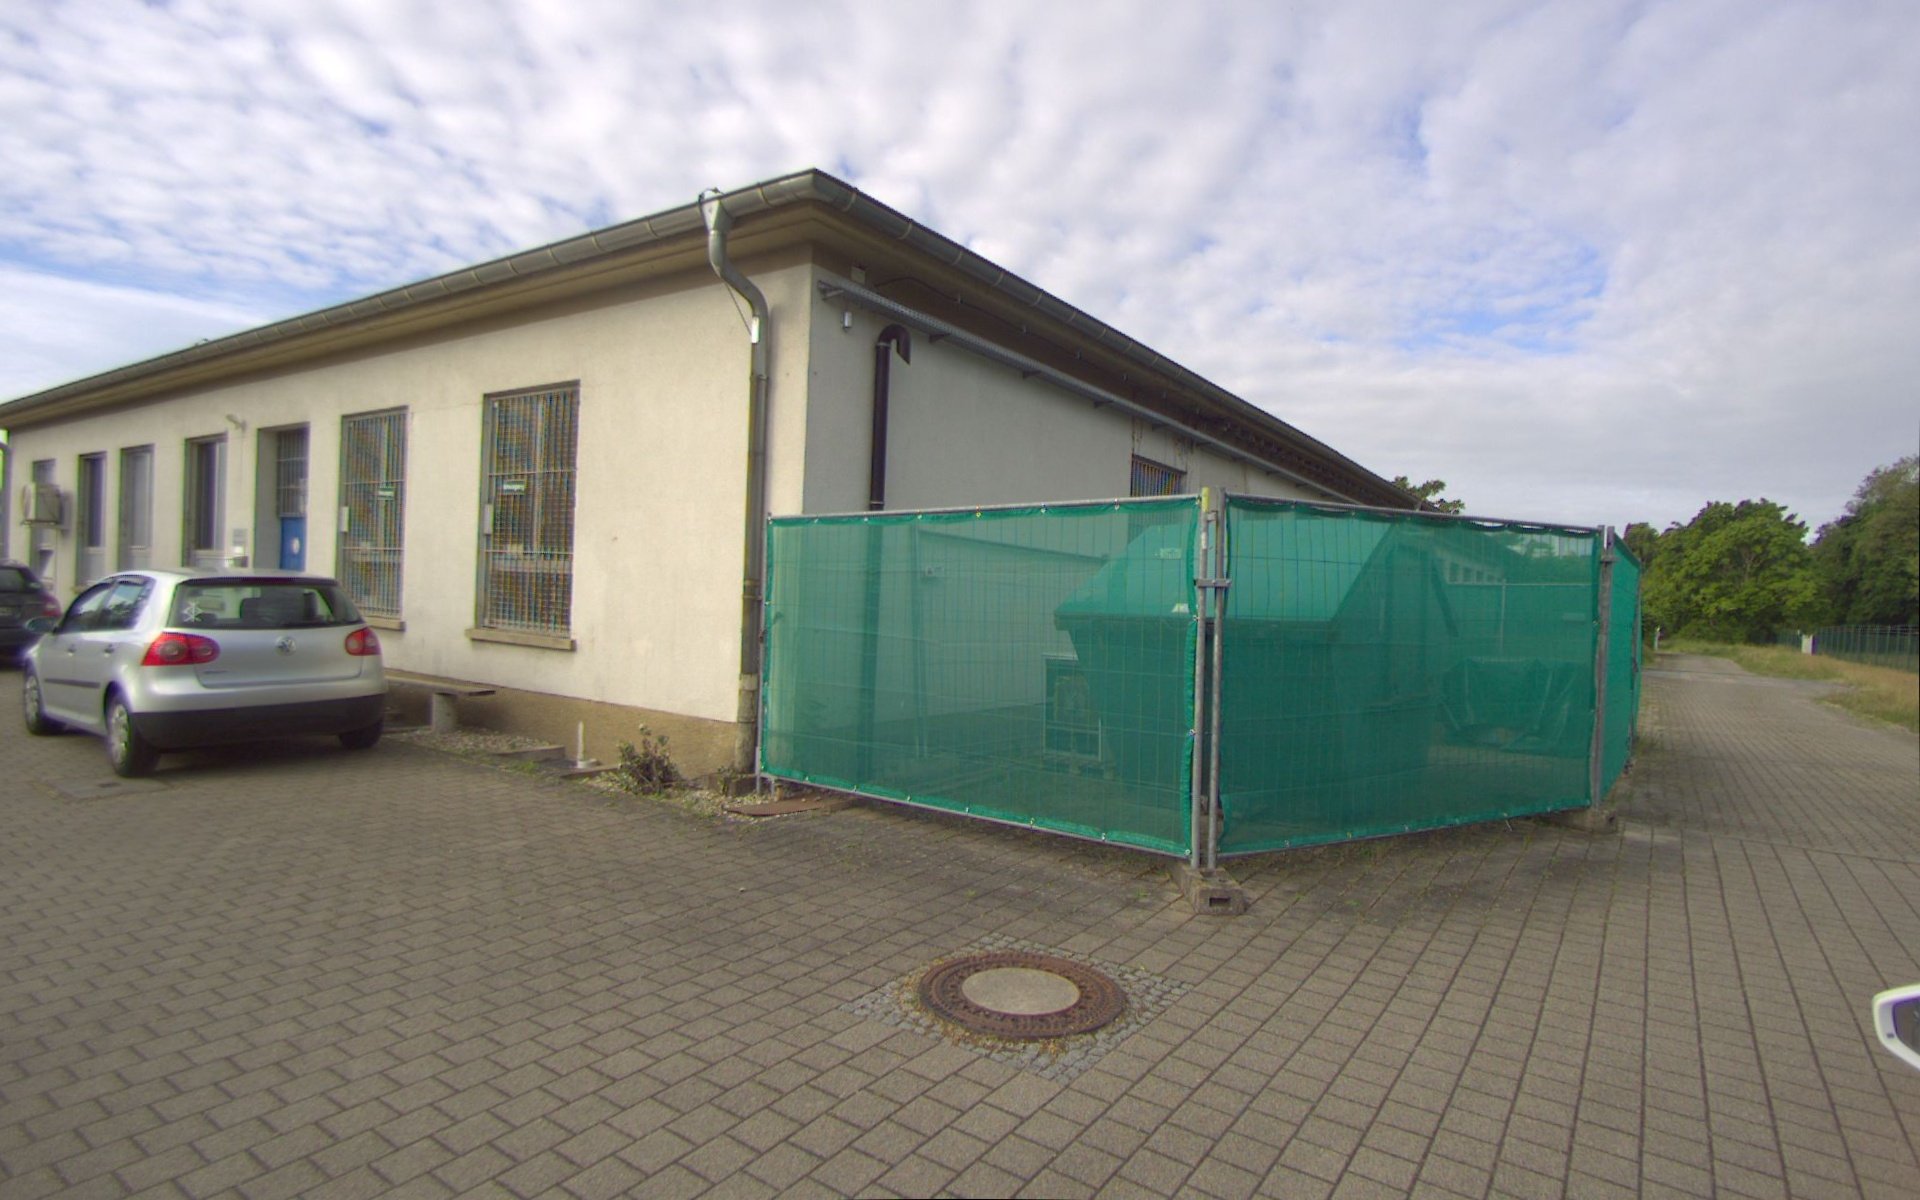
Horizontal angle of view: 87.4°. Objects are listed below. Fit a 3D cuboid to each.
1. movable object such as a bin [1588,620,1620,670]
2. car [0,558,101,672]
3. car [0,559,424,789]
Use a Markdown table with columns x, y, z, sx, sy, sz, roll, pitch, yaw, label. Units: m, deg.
| x | y | z | sx | sy | sz | roll | pitch | yaw | label |
| --- | --- | --- | --- | --- | --- | --- | --- | --- | --- |
| 26.944 | 1.886 | 42.013 | 0.925 | 2.008 | 0.848 | 2 | 0 | 44 | movable object such as a bin |
| -14.352 | 0.109 | 14.413 | 4.730 | 1.480 | 1.925 | 3 | 0 | 35 | car |
| -6.653 | 0.427 | 8.573 | 4.295 | 1.458 | 1.925 | 3 | 2 | 35 | car |
